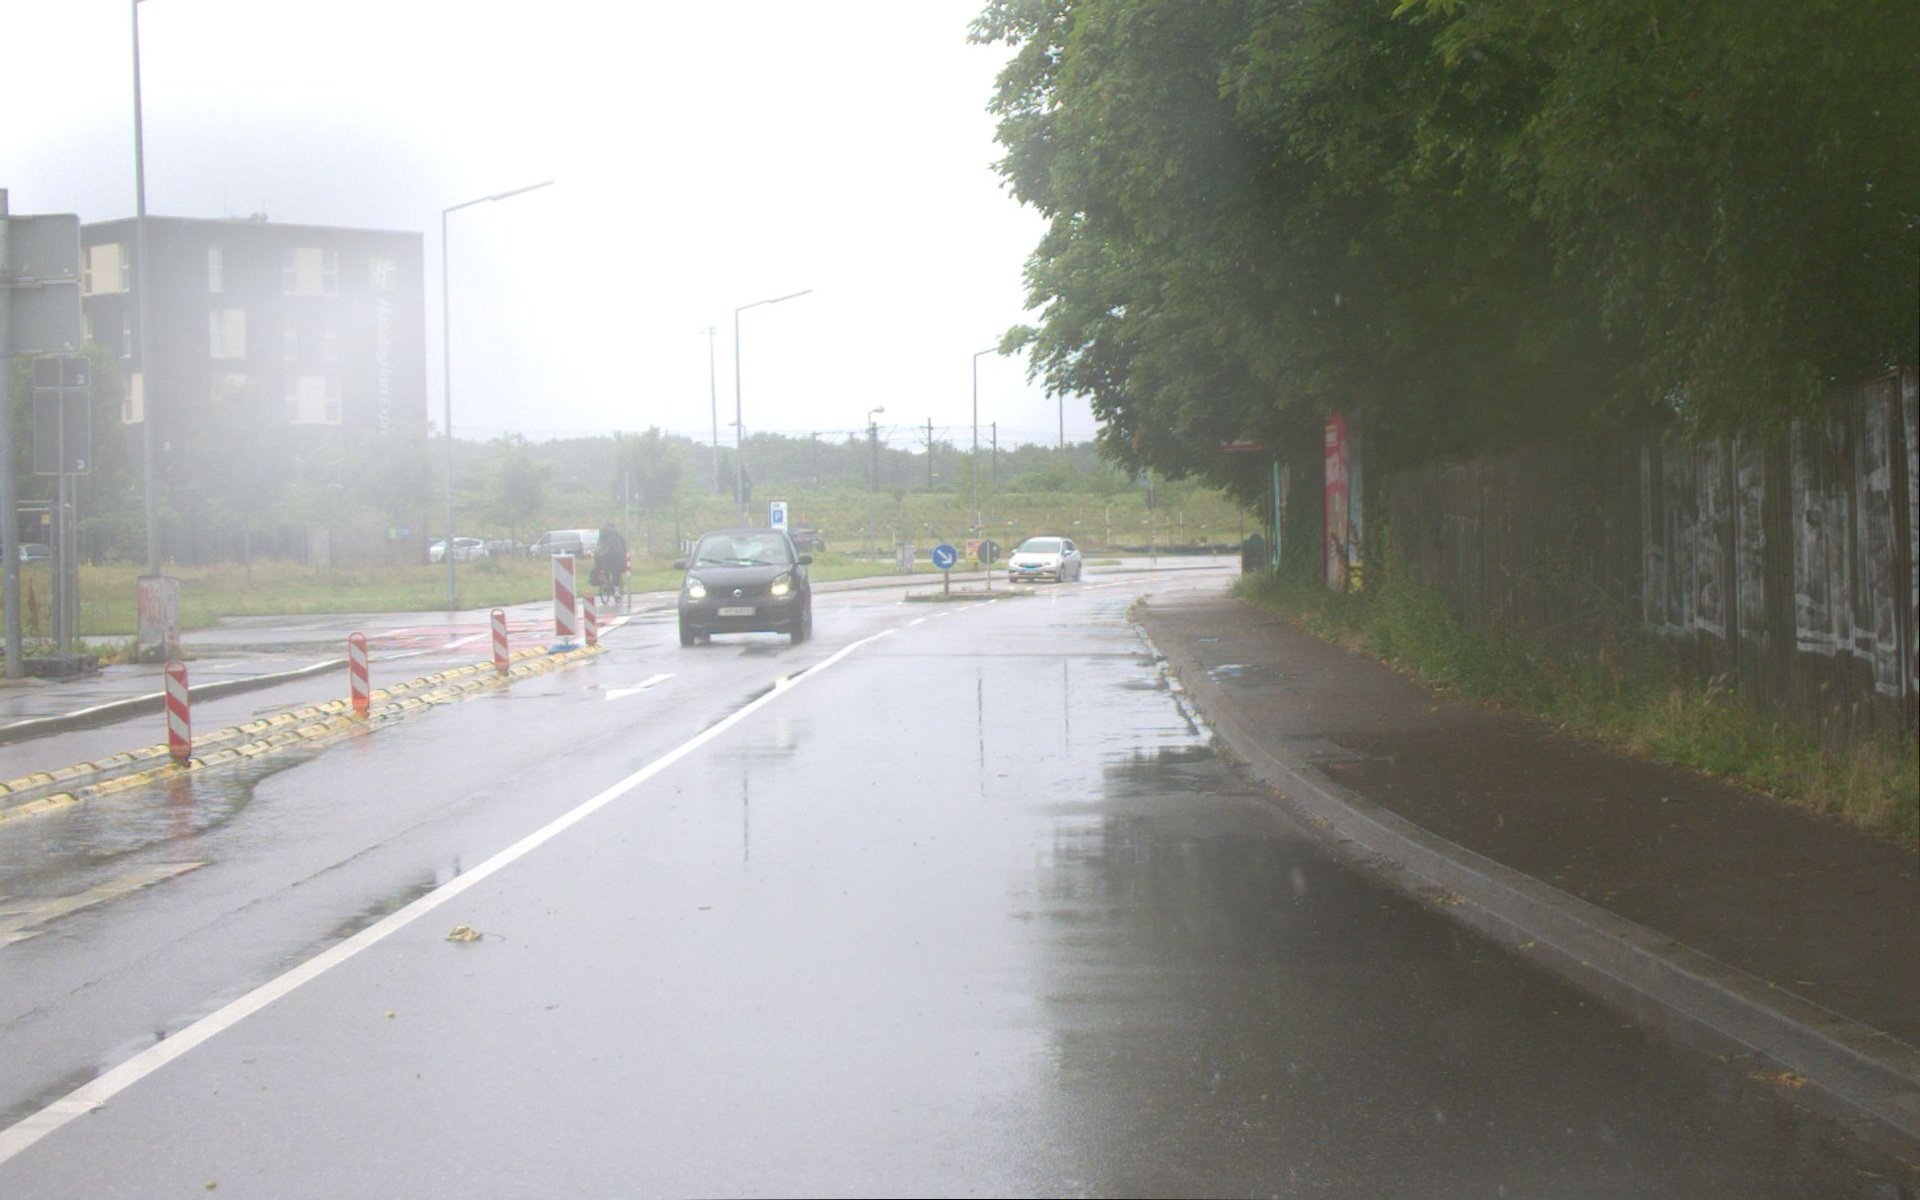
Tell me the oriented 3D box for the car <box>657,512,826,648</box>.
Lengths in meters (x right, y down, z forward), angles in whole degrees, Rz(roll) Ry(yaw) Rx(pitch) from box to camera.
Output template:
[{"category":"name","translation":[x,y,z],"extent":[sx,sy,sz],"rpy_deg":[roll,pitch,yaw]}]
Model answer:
[{"category":"car","translation":[-2.965,-0.300,47.435],"extent":[1.993,1.766,4.000],"rpy_deg":[-1,1,1]}]

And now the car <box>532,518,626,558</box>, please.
[{"category":"car","translation":[-17.888,-2.906,161.435],"extent":[3.989,1.766,1.999],"rpy_deg":[0,-1,-43]}]

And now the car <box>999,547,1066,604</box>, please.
[{"category":"car","translation":[2.412,-0.795,113.577],"extent":[1.994,1.766,3.999],"rpy_deg":[-1,-1,4]}]

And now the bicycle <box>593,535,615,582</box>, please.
[{"category":"bicycle","translation":[-7.890,-0.927,76.162],"extent":[0.427,1.016,1.612],"rpy_deg":[-1,1,-4]}]

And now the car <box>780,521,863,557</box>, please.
[{"category":"car","translation":[-7.244,-3.198,179.879],"extent":[3.989,1.766,1.999],"rpy_deg":[0,-1,-43]}]

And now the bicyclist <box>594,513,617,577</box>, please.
[{"category":"bicyclist","translation":[-7.864,-1.209,76.219],"extent":[0.444,1.399,0.550],"rpy_deg":[-1,-1,-2]}]

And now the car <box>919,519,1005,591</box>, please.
[{"category":"car","translation":[0.087,-1.170,90.978],"extent":[1.994,1.766,3.999],"rpy_deg":[-1,-1,4]}]
